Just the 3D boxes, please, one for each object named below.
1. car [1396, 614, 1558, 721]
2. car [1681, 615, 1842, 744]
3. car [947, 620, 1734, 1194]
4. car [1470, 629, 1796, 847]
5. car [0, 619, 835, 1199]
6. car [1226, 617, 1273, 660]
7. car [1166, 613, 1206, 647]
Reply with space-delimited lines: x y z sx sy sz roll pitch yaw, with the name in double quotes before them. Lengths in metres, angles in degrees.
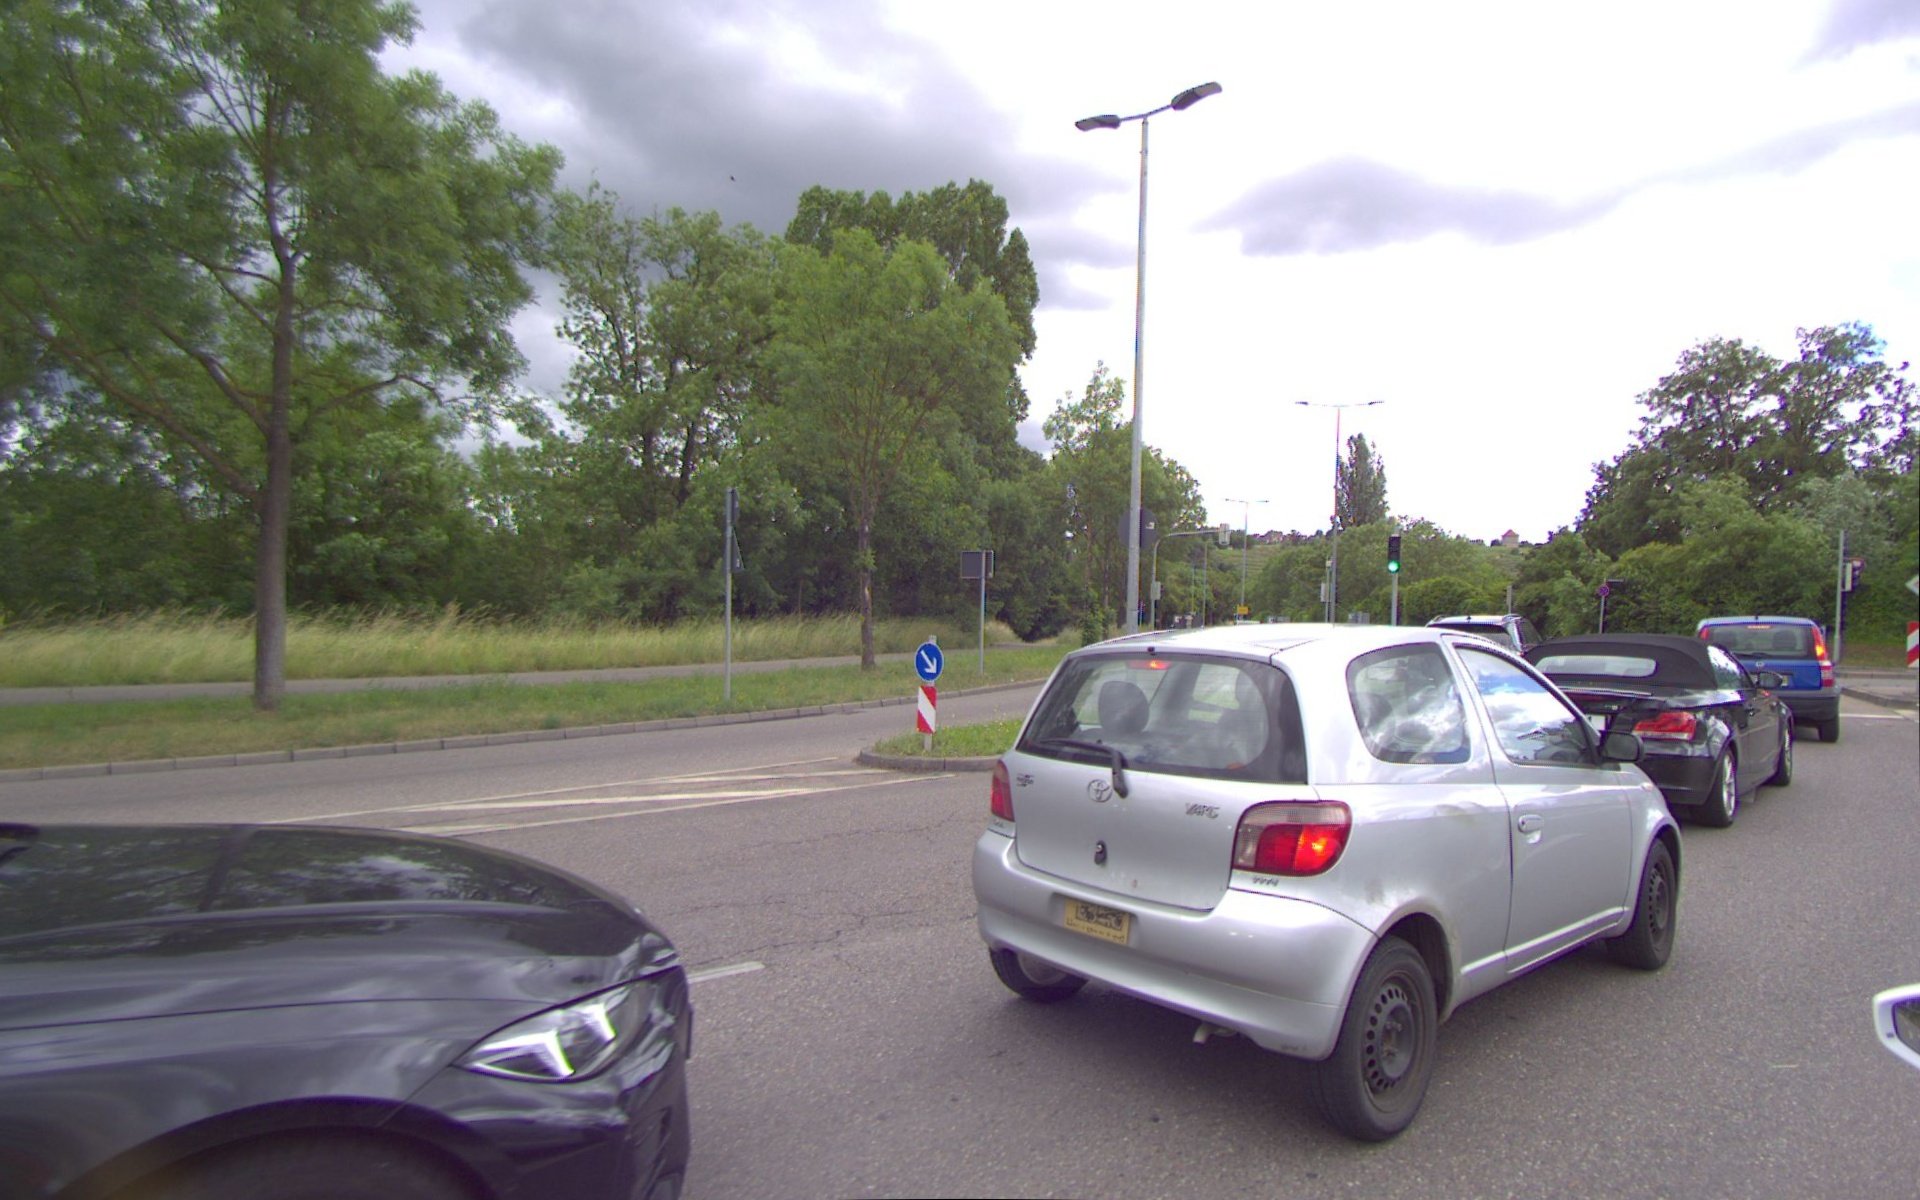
"car" 8.488 1.025 16.339 1.636 1.527 3.754 -3 -2 38
"car" 10.826 0.973 13.755 1.523 1.527 3.369 0 -1 35
"car" 1.858 0.858 4.422 3.598 1.489 1.655 1 -3 -39
"car" 5.990 0.986 8.730 4.056 1.386 1.548 0 -1 -44
"car" -2.807 0.780 1.489 4.907 1.496 1.863 1 -2 -31
"car" 16.233 2.097 56.455 1.896 2.021 4.324 2 2 9
"car" 14.073 1.820 62.707 2.041 1.783 4.324 2 2 9
